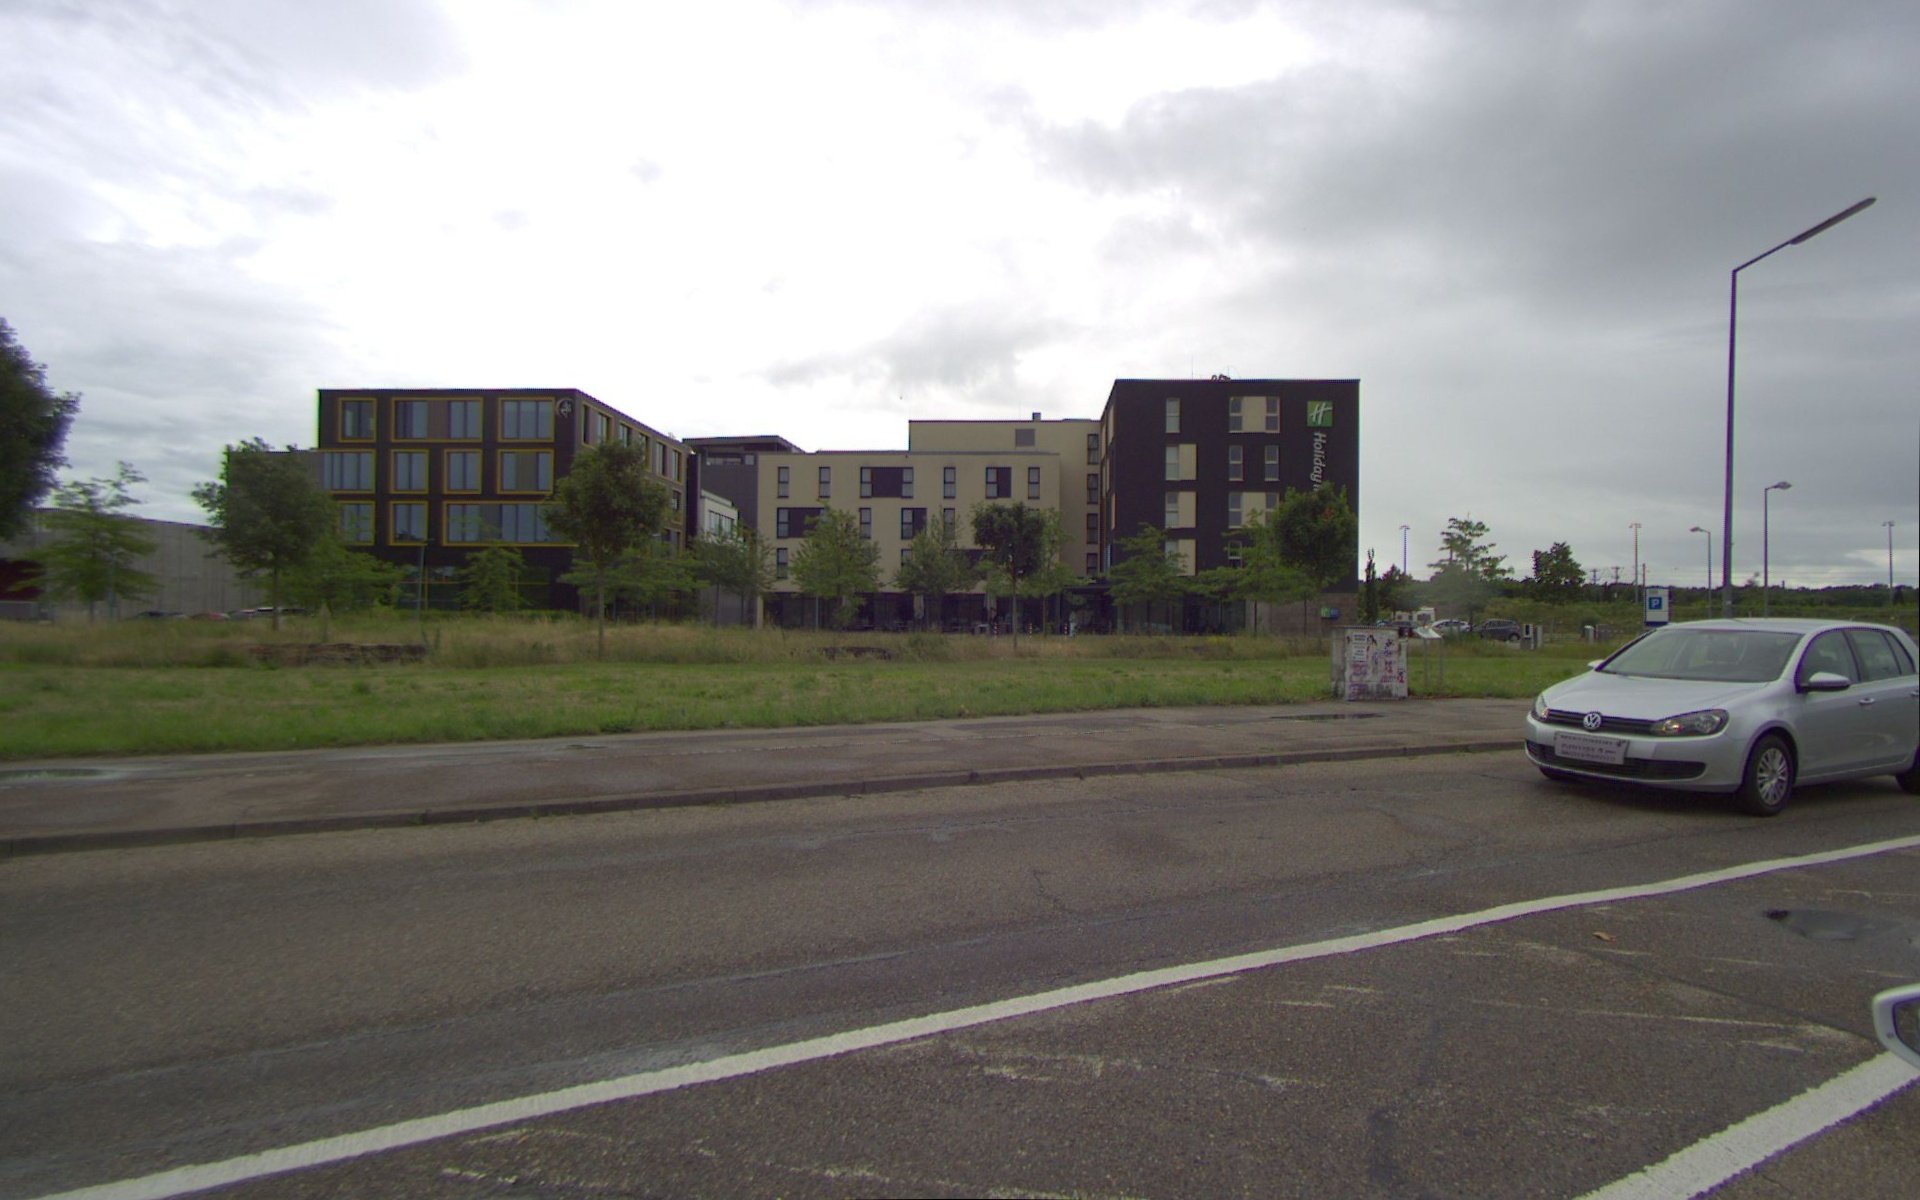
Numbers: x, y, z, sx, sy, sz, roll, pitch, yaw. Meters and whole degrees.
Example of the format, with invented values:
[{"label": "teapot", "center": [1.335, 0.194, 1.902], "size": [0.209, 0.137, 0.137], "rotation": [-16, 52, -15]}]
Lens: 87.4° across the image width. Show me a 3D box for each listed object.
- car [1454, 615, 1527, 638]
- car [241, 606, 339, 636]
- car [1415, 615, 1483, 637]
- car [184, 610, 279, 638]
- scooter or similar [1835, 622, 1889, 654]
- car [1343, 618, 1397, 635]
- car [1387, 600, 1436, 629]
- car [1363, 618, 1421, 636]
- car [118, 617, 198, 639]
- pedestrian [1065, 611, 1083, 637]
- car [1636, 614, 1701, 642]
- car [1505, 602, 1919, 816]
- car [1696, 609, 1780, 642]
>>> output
[{"label": "car", "center": [35.052, 1.751, 66.393], "size": [3.920, 1.461, 1.699], "rotation": [0, -1, 1]}, {"label": "car", "center": [-35.958, 1.142, 53.991], "size": [3.922, 1.543, 2.000], "rotation": [-1, -2, -2]}, {"label": "car", "center": [35.906, 1.879, 73.766], "size": [4.074, 1.537, 1.999], "rotation": [0, -1, -5]}, {"label": "car", "center": [-41.872, 1.408, 57.796], "size": [3.922, 1.543, 2.000], "rotation": [-1, -2, -2]}, {"label": "scooter or similar", "center": [34.933, 1.462, 38.922], "size": [0.563, 1.184, 1.460], "rotation": [1, 0, -22]}, {"label": "car", "center": [35.175, 2.273, 86.197], "size": [3.921, 1.416, 1.745], "rotation": [0, -1, 0]}, {"label": "car", "center": [47.740, 1.509, 106.416], "size": [2.660, 2.996, 6.579], "rotation": [0, -1, 4]}, {"label": "car", "center": [34.681, 2.165, 80.674], "size": [3.921, 1.416, 1.745], "rotation": [0, -1, -1]}, {"label": "car", "center": [-56.504, 1.985, 70.833], "size": [3.922, 1.543, 2.000], "rotation": [-1, -2, -2]}, {"label": "pedestrian", "center": [7.046, 1.470, 62.079], "size": [0.861, 1.591, 0.951], "rotation": [0, 0, -14]}, {"label": "car", "center": [45.073, 1.755, 63.964], "size": [1.769, 1.776, 3.678], "rotation": [0, -1, 5]}, {"label": "car", "center": [6.865, 0.810, 8.761], "size": [4.002, 1.481, 1.666], "rotation": [1, 1, -25]}, {"label": "car", "center": [45.099, 1.451, 58.319], "size": [1.960, 1.847, 4.002], "rotation": [0, -1, 4]}]
